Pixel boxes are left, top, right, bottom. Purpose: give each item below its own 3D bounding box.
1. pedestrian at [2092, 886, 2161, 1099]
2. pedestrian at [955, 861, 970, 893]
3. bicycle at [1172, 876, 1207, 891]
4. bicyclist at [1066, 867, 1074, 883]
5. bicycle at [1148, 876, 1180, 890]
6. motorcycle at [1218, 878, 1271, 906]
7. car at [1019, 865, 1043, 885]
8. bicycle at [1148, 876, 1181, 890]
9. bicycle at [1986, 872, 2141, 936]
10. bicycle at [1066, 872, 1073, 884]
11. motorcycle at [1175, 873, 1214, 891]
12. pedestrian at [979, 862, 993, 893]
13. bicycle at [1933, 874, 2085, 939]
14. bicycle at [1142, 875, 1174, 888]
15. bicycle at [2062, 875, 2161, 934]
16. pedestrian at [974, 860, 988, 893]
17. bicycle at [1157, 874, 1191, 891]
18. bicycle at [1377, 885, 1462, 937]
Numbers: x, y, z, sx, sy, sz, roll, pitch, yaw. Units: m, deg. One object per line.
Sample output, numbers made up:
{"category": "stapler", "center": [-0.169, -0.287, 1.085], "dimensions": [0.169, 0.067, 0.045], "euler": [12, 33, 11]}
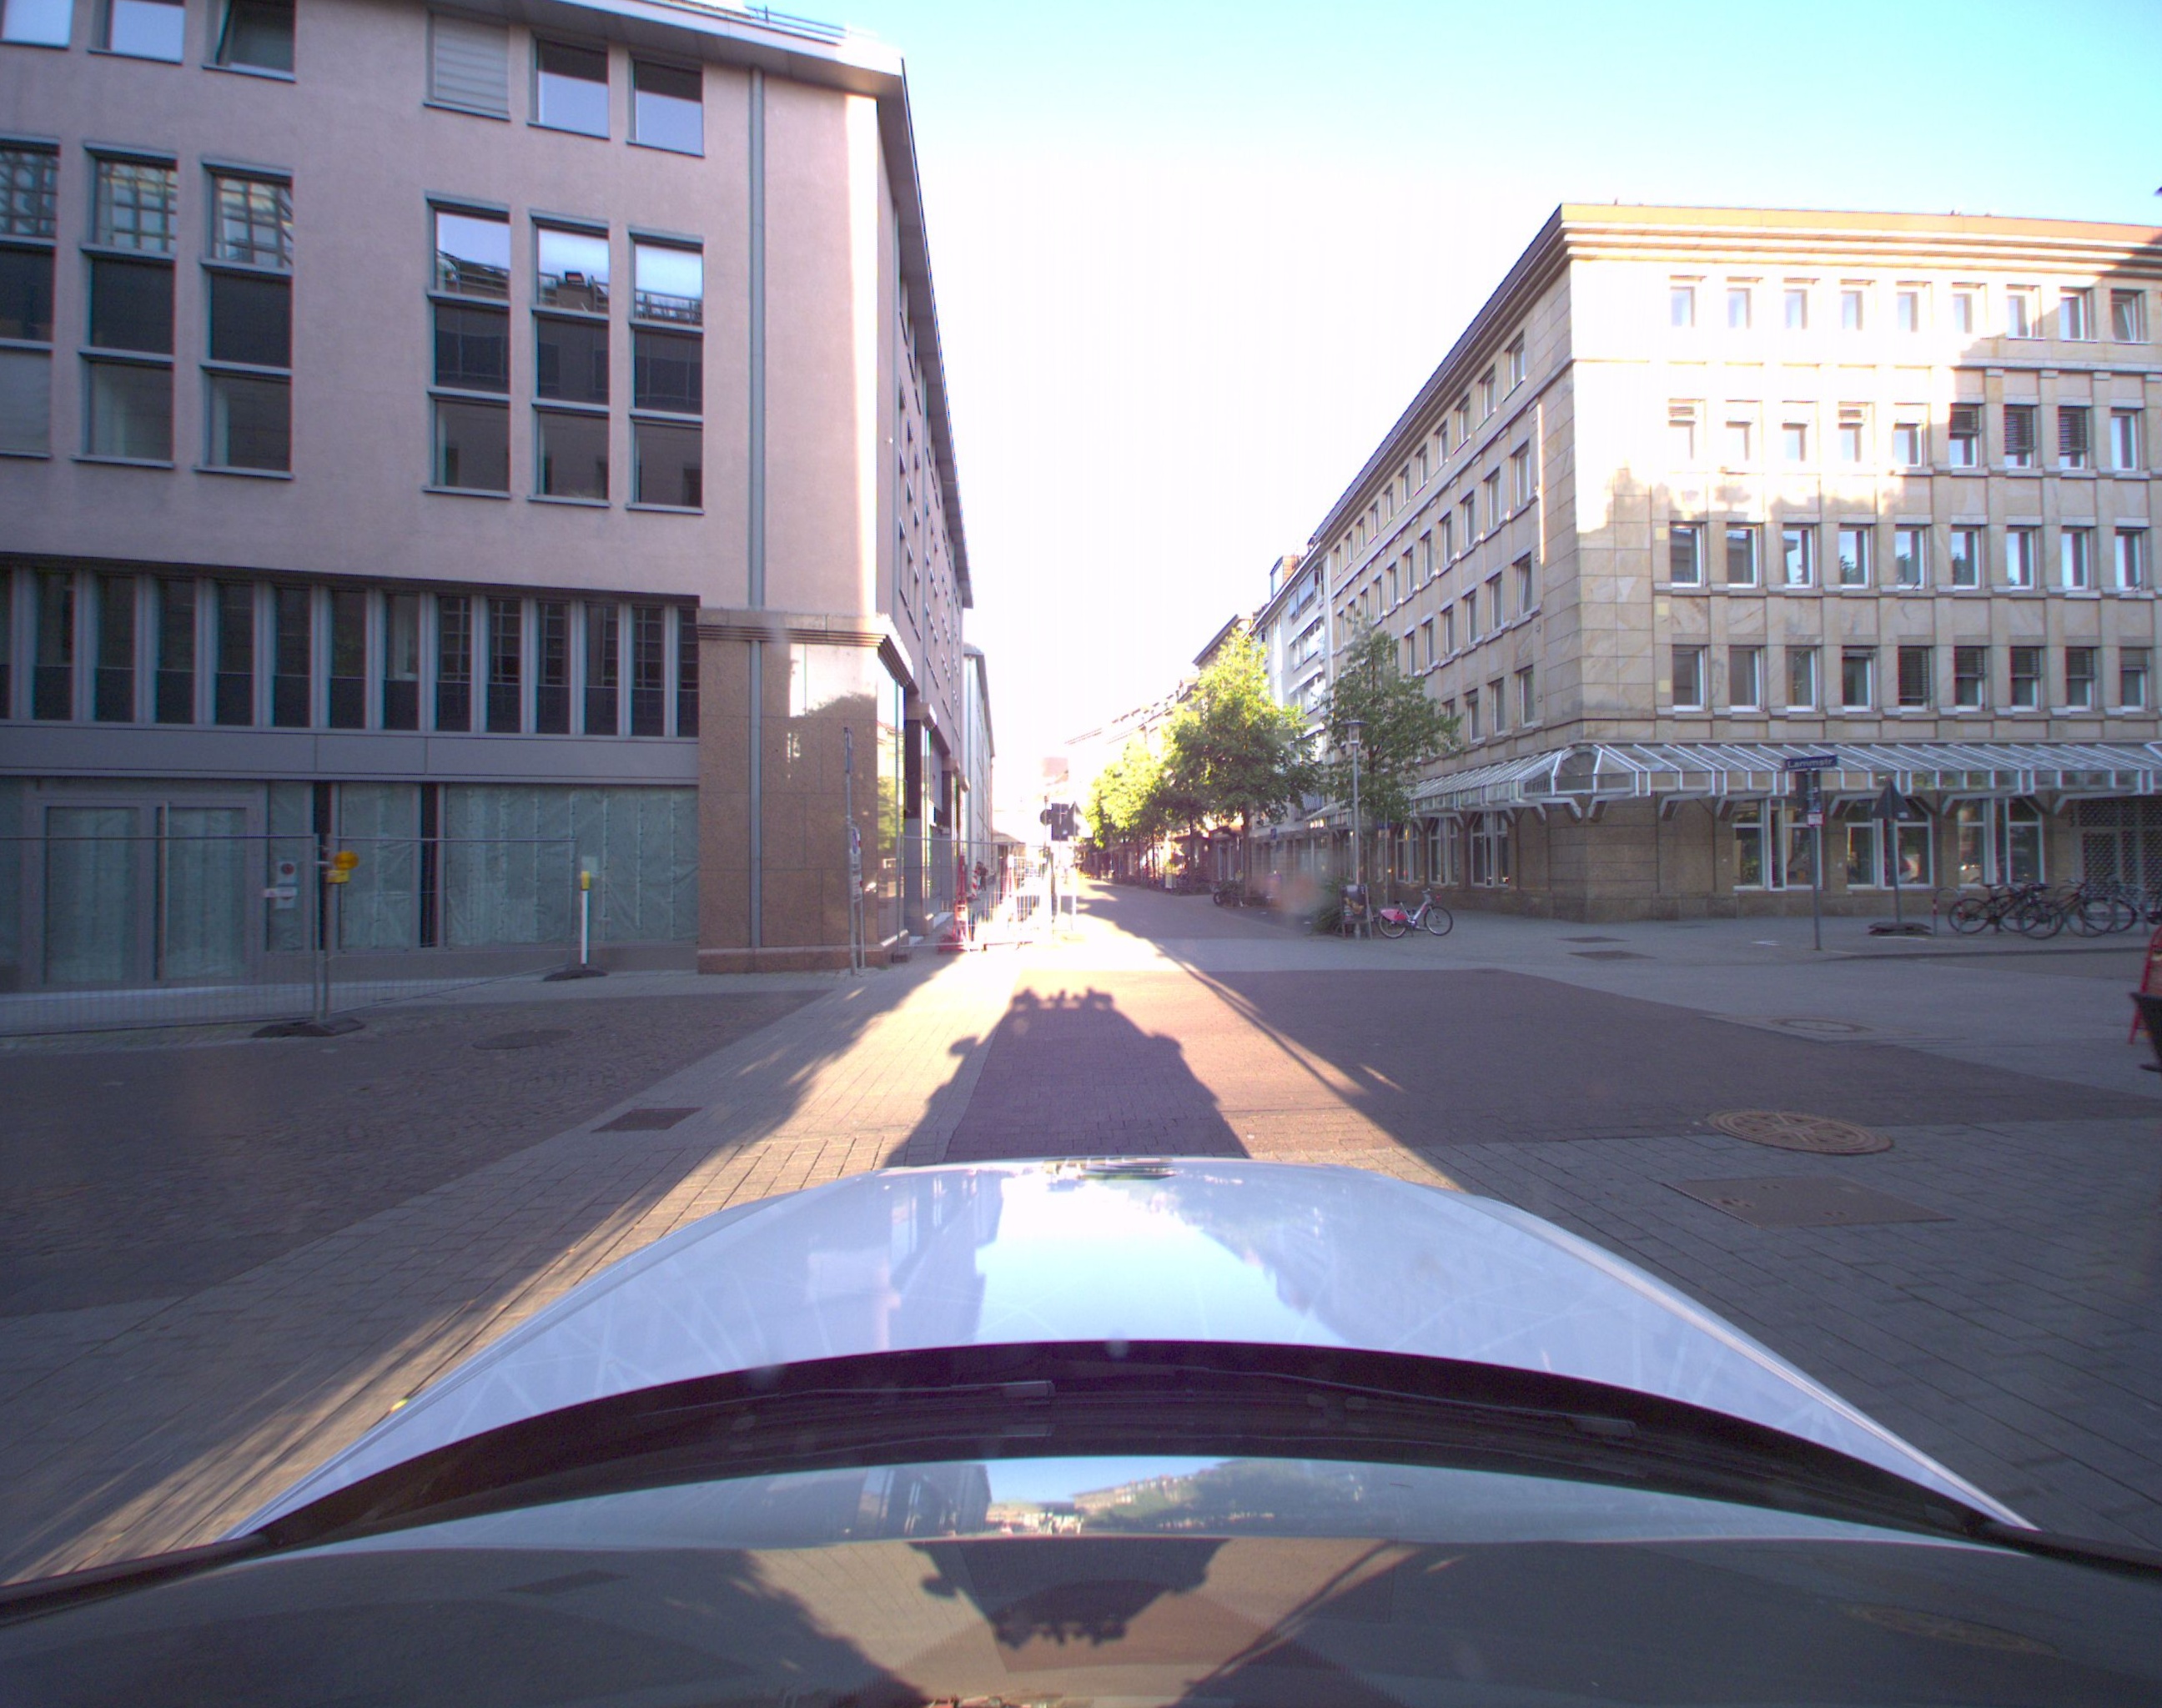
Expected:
{"category": "pedestrian", "center": [6.764, 0.826, 4.896], "dimensions": [0.658, 1.247, 0.516], "euler": [-1, -1, 14]}
{"category": "pedestrian", "center": [-6.443, 1.229, 44.306], "dimensions": [0.652, 1.726, 0.634], "euler": [-1, -1, 2]}
{"category": "bicycle", "center": [6.959, 1.882, 52.219], "dimensions": [2.159, 0.926, 0.587], "euler": [-1, -2, -18]}
{"category": "bicyclist", "center": [-1.005, 1.924, 74.911], "dimensions": [0.720, 1.468, 0.716], "euler": [-1, -1, -4]}
{"category": "bicycle", "center": [5.825, 2.021, 57.438], "dimensions": [2.153, 0.926, 0.588], "euler": [-1, -2, -10]}
{"category": "motorcycle", "center": [6.932, 1.606, 34.595], "dimensions": [2.150, 1.151, 0.493], "euler": [-1, -2, -6]}
{"category": "car", "center": [-4.347, 1.794, 70.156], "dimensions": [1.840, 1.684, 3.635], "euler": [-1, -1, -8]}
{"category": "bicycle", "center": [5.771, 2.019, 56.262], "dimensions": [2.153, 0.926, 0.588], "euler": [-1, -2, -10]}
{"category": "bicycle", "center": [18.178, 0.897, 15.144], "dimensions": [0.540, 1.051, 1.949], "euler": [-1, 0, 0]}
{"category": "bicycle", "center": [-1.079, 2.241, 74.990], "dimensions": [0.587, 1.095, 2.157], "euler": [-1, -2, -3]}
{"category": "motorcycle", "center": [7.128, 1.748, 51.145], "dimensions": [2.483, 1.095, 0.586], "euler": [0, -2, -25]}
{"category": "pedestrian", "center": [-5.234, 1.289, 45.068], "dimensions": [0.652, 1.652, 0.634], "euler": [-1, -1, 2]}
{"category": "bicycle", "center": [16.978, 0.930, 14.985], "dimensions": [0.541, 1.051, 1.948], "euler": [-1, 0, -1]}
{"category": "bicycle", "center": [5.516, 1.979, 58.423], "dimensions": [2.153, 0.926, 0.588], "euler": [-1, -2, -10]}
{"category": "bicycle", "center": [19.594, 0.921, 15.043], "dimensions": [0.510, 1.028, 1.946], "euler": [-1, -1, -4]}
{"category": "pedestrian", "center": [-5.455, 1.230, 44.457], "dimensions": [0.652, 1.764, 0.634], "euler": [-1, -1, 2]}
{"category": "bicycle", "center": [6.195, 1.885, 54.167], "dimensions": [2.139, 1.061, 0.592], "euler": [-2, -2, 11]}
{"category": "bicycle", "center": [7.582, 1.277, 18.318], "dimensions": [1.643, 1.051, 0.665], "euler": [-4, -1, 15]}
